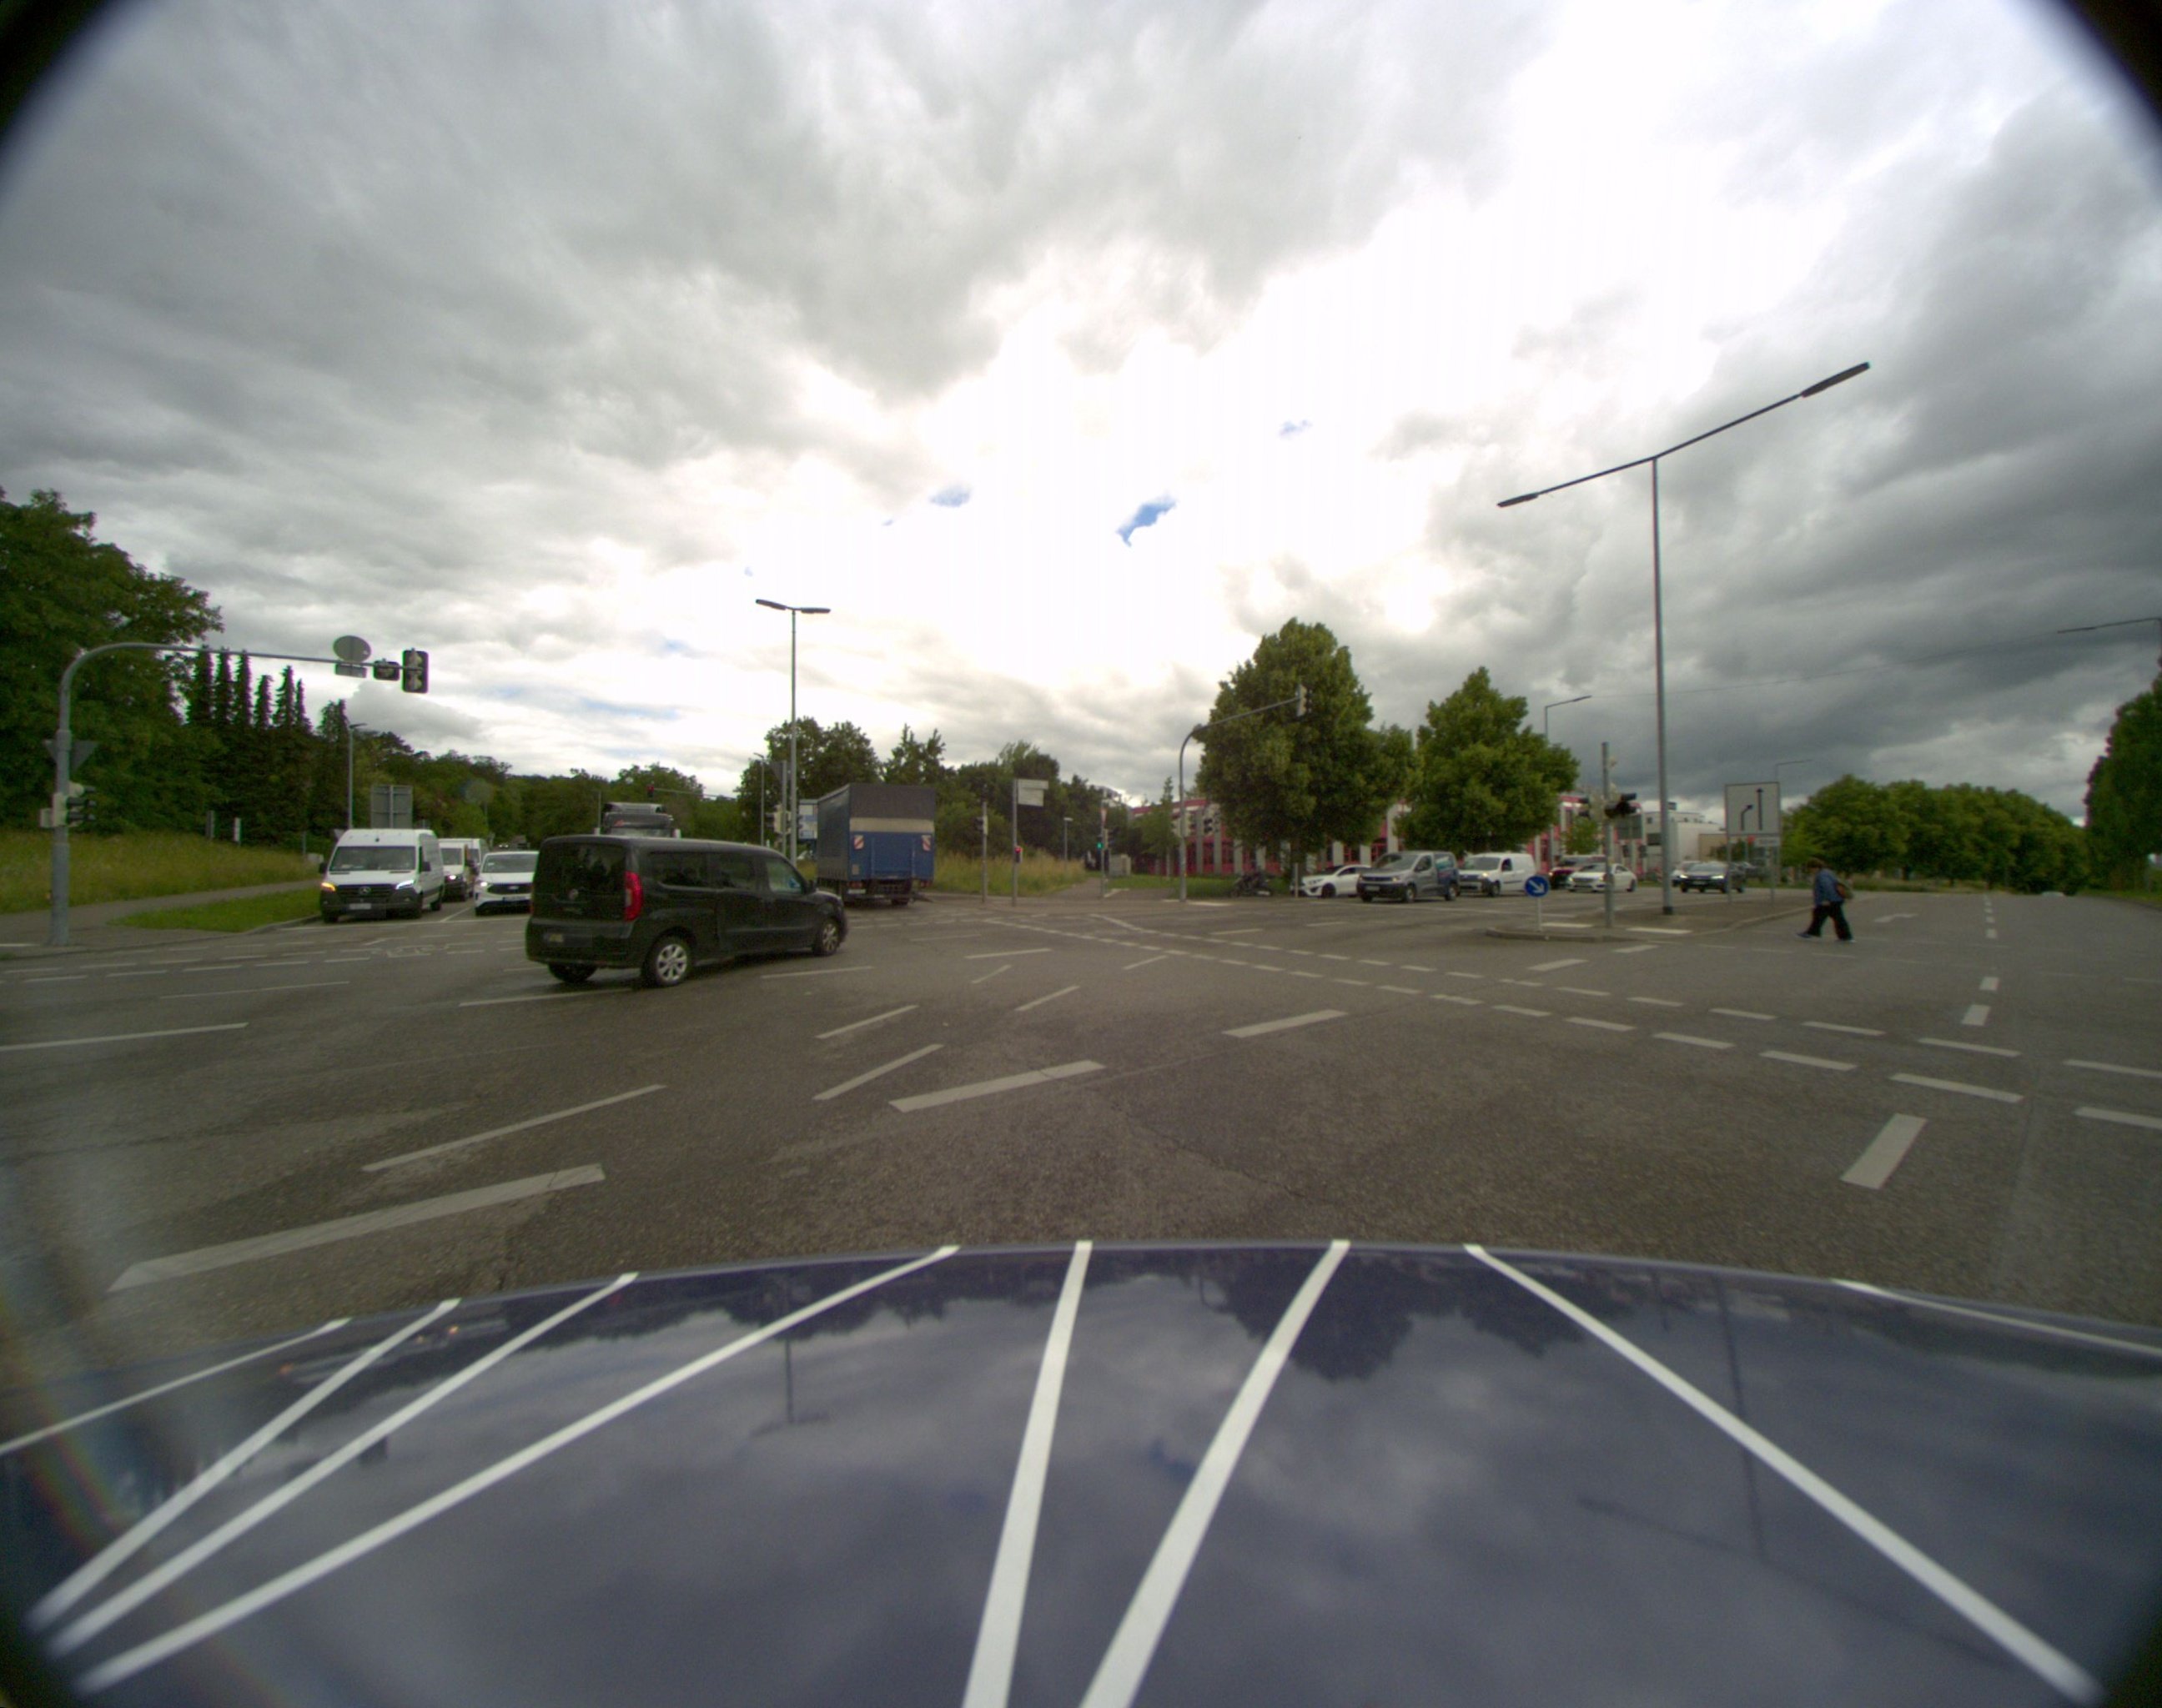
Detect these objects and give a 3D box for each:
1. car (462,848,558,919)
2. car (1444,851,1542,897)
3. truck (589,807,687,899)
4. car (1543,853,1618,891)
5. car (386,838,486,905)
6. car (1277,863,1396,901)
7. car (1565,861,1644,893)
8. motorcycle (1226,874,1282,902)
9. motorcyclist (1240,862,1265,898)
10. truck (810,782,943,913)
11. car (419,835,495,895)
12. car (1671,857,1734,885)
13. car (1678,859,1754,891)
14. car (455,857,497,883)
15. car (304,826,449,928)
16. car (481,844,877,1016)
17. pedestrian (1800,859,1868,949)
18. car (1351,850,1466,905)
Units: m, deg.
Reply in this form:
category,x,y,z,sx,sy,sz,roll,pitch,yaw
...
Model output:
category,x,y,z,sx,sy,sz,roll,pitch,yaw
car,-18.114,0.838,24.326,2.124,1.979,4.975,-2,1,-34
car,17.059,0.814,31.403,4.706,1.781,1.810,1,-1,-38
truck,-18.734,-0.053,31.932,3.080,3.497,5.945,-1,1,-34
car,28.292,1.041,42.968,4.464,1.894,2.179,4,-2,-38
car,-25.547,0.631,30.320,2.232,2.372,5.945,-1,1,-33
car,10.664,1.143,31.720,4.518,1.411,1.833,-1,-2,-21
car,25.218,1.104,36.560,4.232,1.332,1.810,4,-2,-36
motorcycle,6.970,1.373,30.640,2.068,1.084,0.759,0,-1,-1
motorcyclist,6.923,1.056,30.639,0.816,1.413,0.759,0,-1,-1
truck,-7.356,-0.150,26.338,2.791,3.782,8.371,0,0,-27
car,-30.894,0.491,37.814,2.232,2.705,6.669,-1,1,-34
car,44.239,1.164,54.068,5.246,1.894,1.946,0,0,-33
car,31.175,1.041,37.258,4.231,1.332,1.810,4,-2,-35
car,-34.584,0.877,43.501,1.656,1.447,3.856,0,0,-36
car,-20.724,0.590,22.671,2.232,2.643,5.945,-1,1,-34
car,-5.235,0.834,10.864,1.995,1.865,4.898,0,0,20
pedestrian,13.277,0.849,13.405,0.672,1.521,0.714,-1,0,-32
car,11.576,0.770,26.754,4.230,1.769,1.810,0,0,-36
